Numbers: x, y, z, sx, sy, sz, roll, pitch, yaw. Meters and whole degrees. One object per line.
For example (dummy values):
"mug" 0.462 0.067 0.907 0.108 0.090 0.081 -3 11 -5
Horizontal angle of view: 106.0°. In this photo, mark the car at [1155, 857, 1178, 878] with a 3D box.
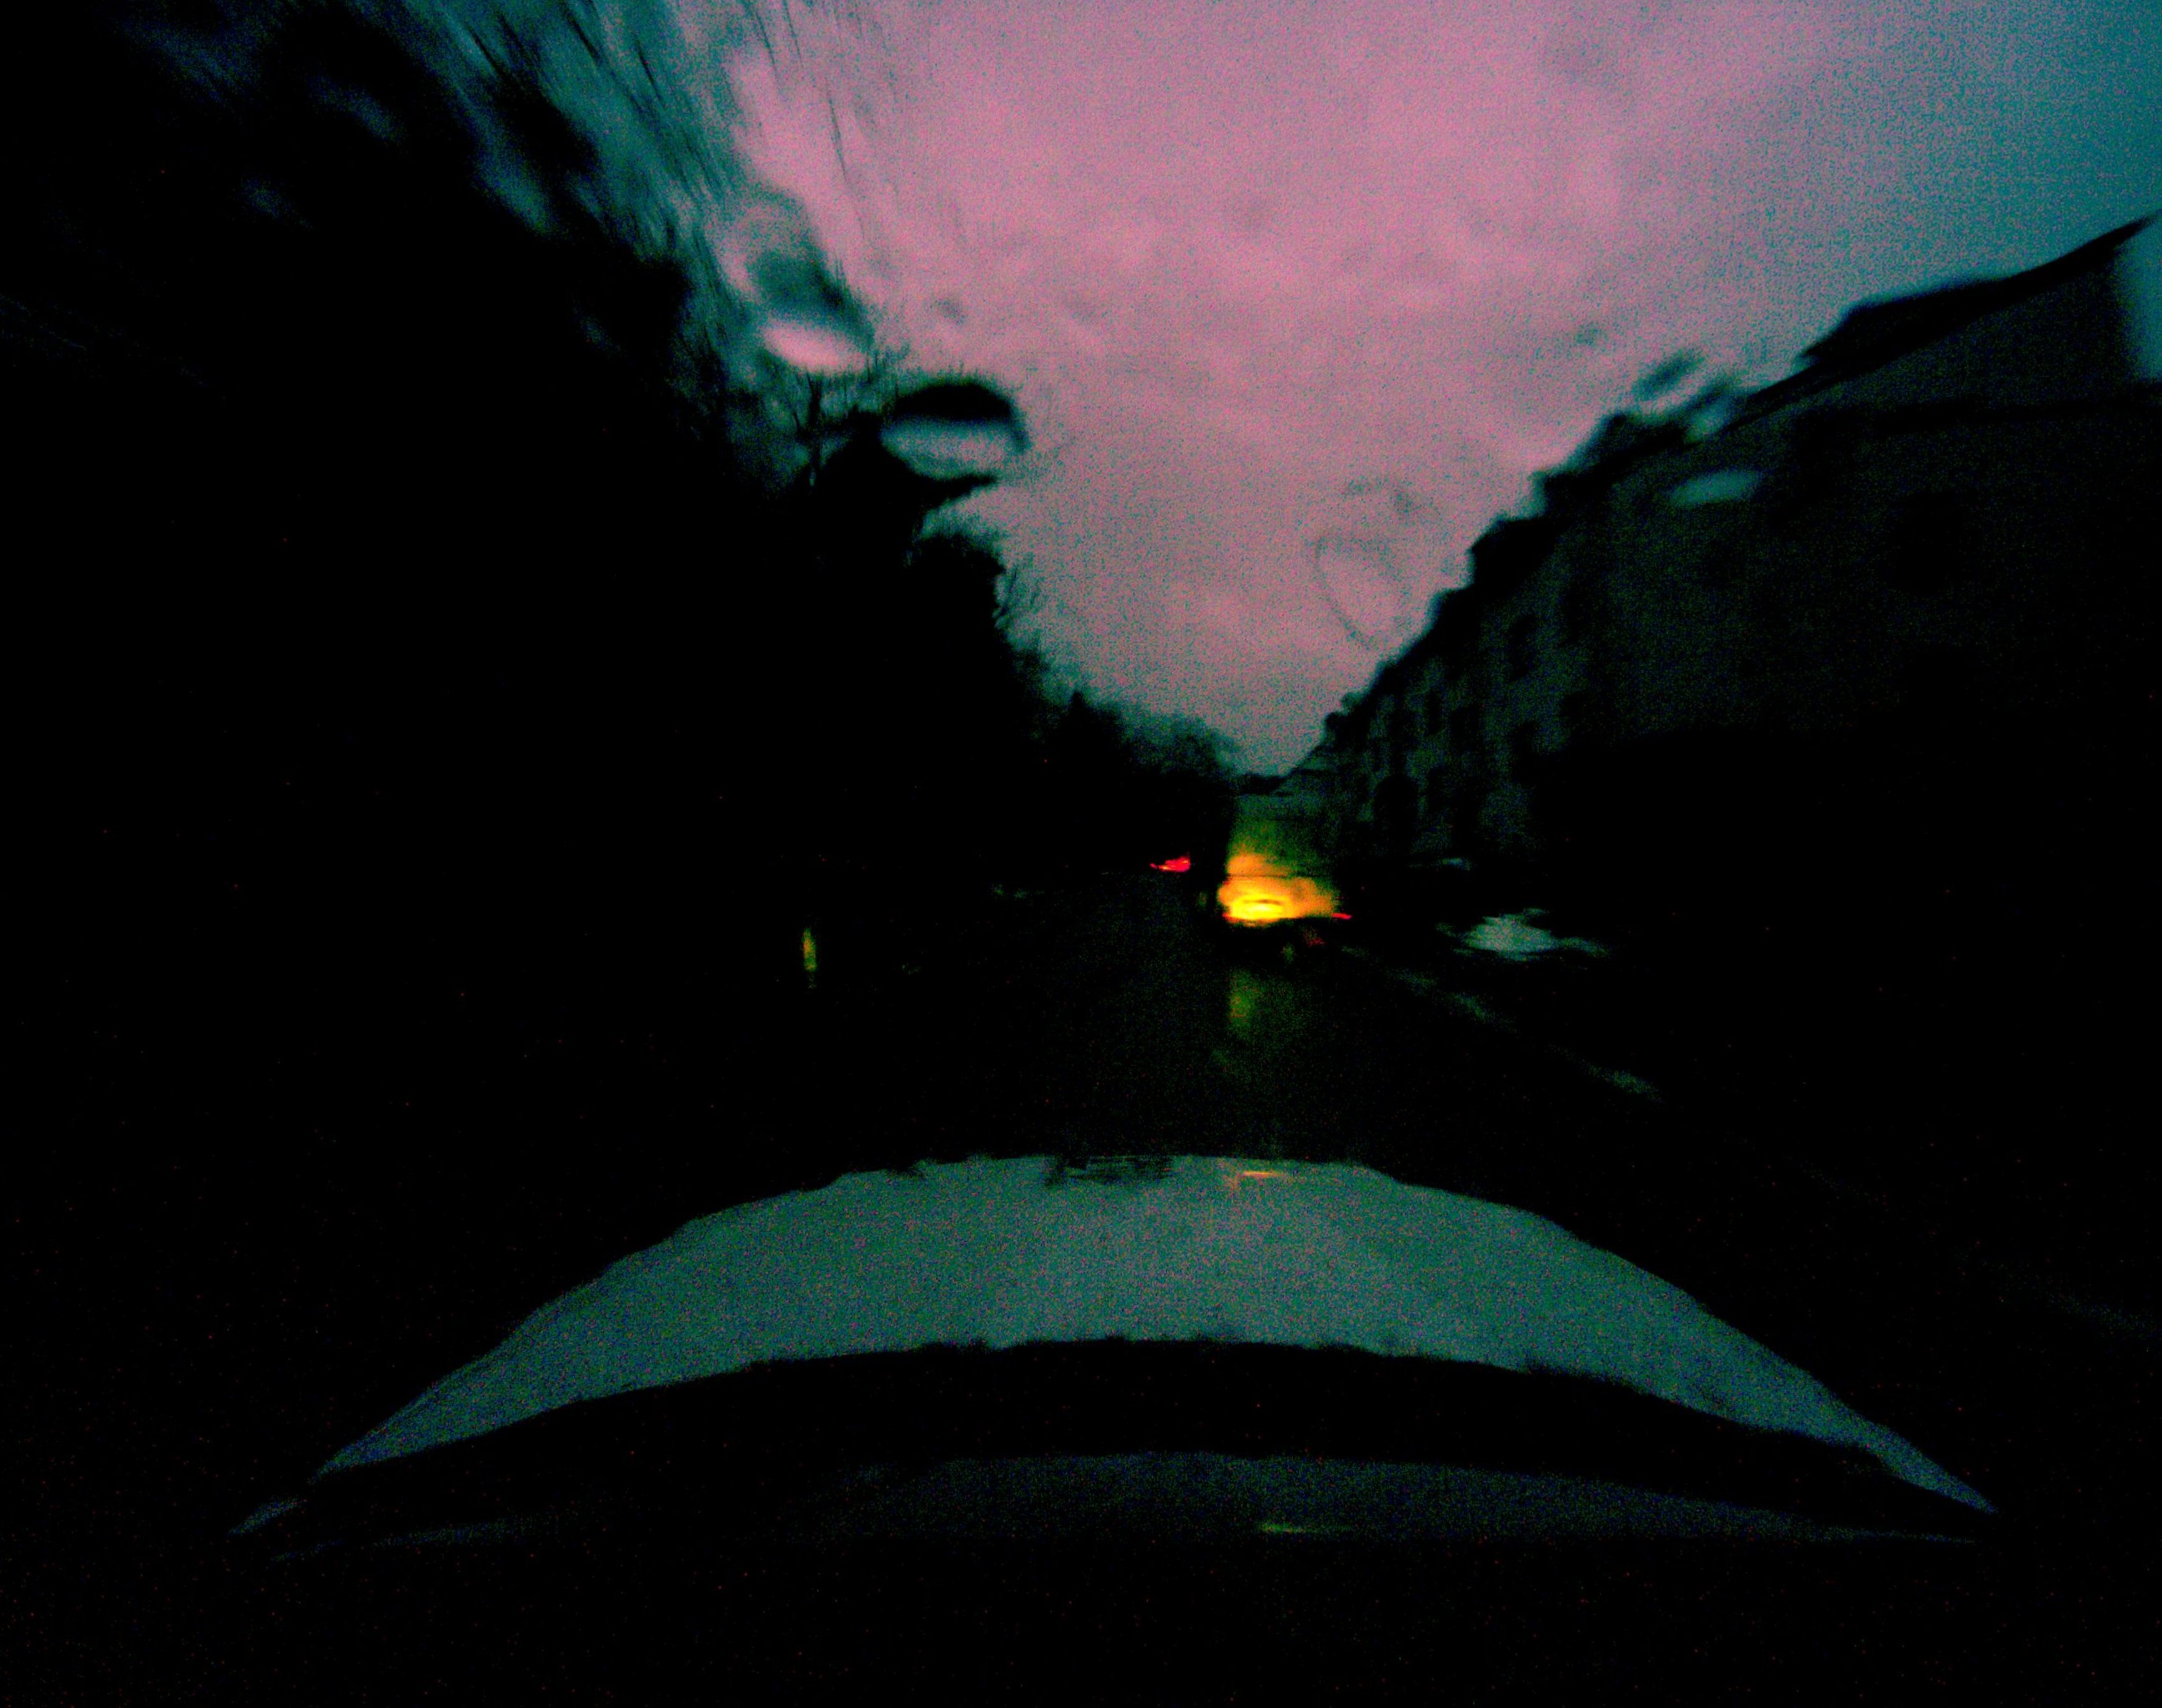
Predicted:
"car" 7.539 1.173 71.253 1.923 1.781 4.008 0 -1 7

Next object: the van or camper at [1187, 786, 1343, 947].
"van or camper" 3.303 0.228 16.110 2.005 2.508 6.800 0 -1 4

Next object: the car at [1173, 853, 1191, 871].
"car" 10.505 0.823 84.524 1.680 1.775 3.870 -1 -1 9
